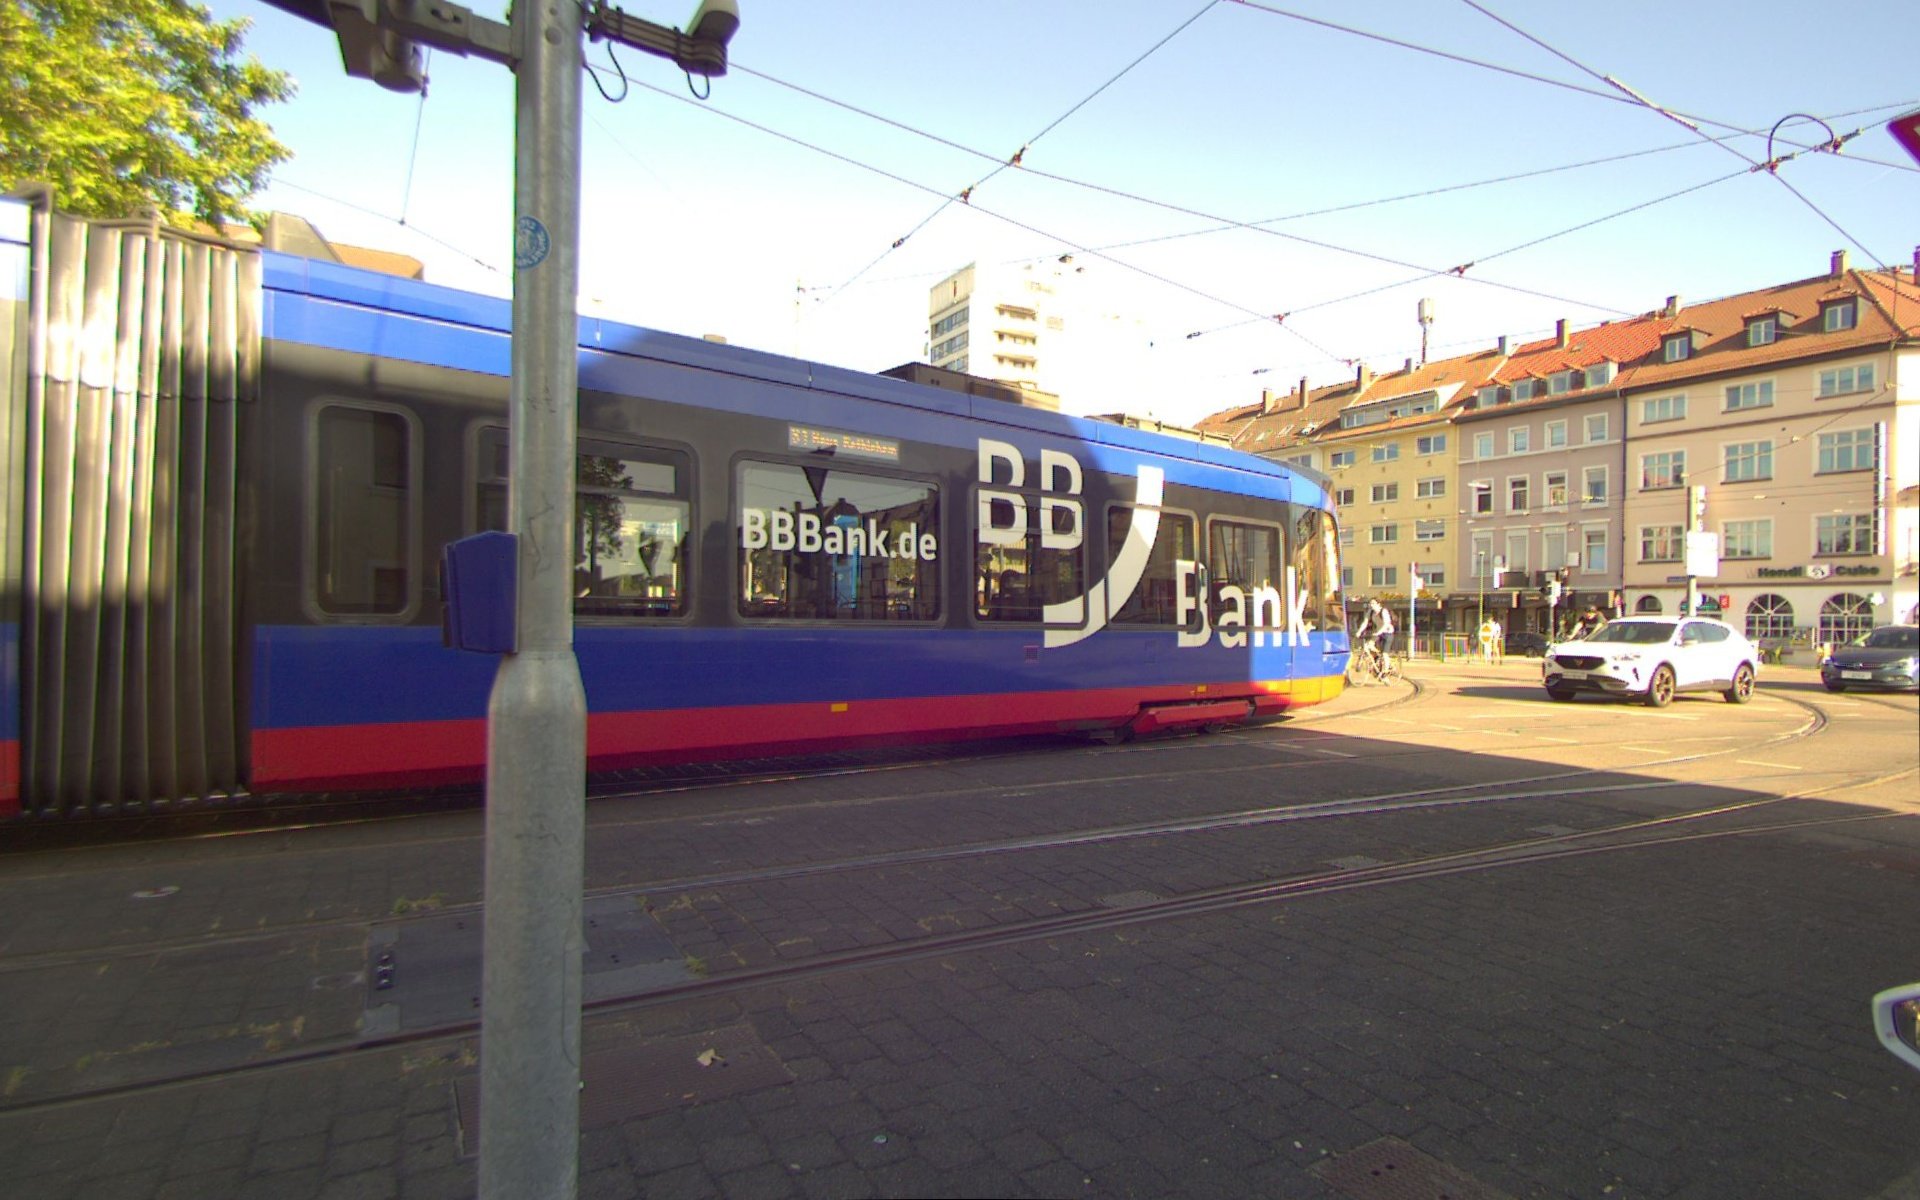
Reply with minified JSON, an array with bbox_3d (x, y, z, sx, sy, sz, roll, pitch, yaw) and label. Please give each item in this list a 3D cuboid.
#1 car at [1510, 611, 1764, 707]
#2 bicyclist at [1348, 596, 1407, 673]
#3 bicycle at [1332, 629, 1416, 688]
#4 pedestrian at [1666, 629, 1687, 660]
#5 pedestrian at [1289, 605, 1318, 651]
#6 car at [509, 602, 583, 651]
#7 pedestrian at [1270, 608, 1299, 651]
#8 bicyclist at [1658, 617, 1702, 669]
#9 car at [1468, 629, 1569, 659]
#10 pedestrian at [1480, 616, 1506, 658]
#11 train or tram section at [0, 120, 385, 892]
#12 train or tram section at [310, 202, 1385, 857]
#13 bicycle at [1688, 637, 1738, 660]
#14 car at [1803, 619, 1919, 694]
[{"bbox_3d":[12.059,0.994,17.874,4.292,1.517,1.986,1,-1,-28],"label":"car"},{"bbox_3d":[8.781,0.716,21.131,0.975,1.580,0.711,1,-1,-30],"label":"bicyclist"},{"bbox_3d":[8.709,1.213,21.099,2.032,1.181,0.483,1,-1,-31],"label":"bicycle"},{"bbox_3d":[35.593,2.205,49.887,0.688,1.544,0.654,1,-1,-33],"label":"pedestrian"},{"bbox_3d":[13.227,1.085,38.671,0.647,1.756,0.794,1,-1,-33],"label":"pedestrian"},{"bbox_3d":[-13.632,0.852,32.961,1.697,1.506,4.186,1,-1,-30],"label":"car"},{"bbox_3d":[13.351,1.209,41.283,0.779,1.756,0.817,1,-1,-29],"label":"pedestrian"},{"bbox_3d":[19.453,1.155,27.133,0.885,1.357,0.601,1,-1,-25],"label":"bicyclist"},{"bbox_3d":[30.557,2.394,55.077,1.725,1.459,4.614,2,-1,-32],"label":"car"},{"bbox_3d":[21.317,1.480,40.166,0.712,1.648,0.672,1,-1,9],"label":"pedestrian"},{"bbox_3d":[-9.220,-0.537,3.487,12.370,3.661,3.037,1,-1,-34],"label":"train or tram section"},{"bbox_3d":[0.366,-0.256,10.813,12.026,3.661,3.027,2,-1,-42],"label":"train or tram section"},{"bbox_3d":[37.669,2.401,50.277,0.578,1.081,1.929,1,-1,-36],"label":"bicycle"},{"bbox_3d":[20.963,1.217,22.309,4.513,1.517,1.768,1,-1,-26],"label":"car"}]
